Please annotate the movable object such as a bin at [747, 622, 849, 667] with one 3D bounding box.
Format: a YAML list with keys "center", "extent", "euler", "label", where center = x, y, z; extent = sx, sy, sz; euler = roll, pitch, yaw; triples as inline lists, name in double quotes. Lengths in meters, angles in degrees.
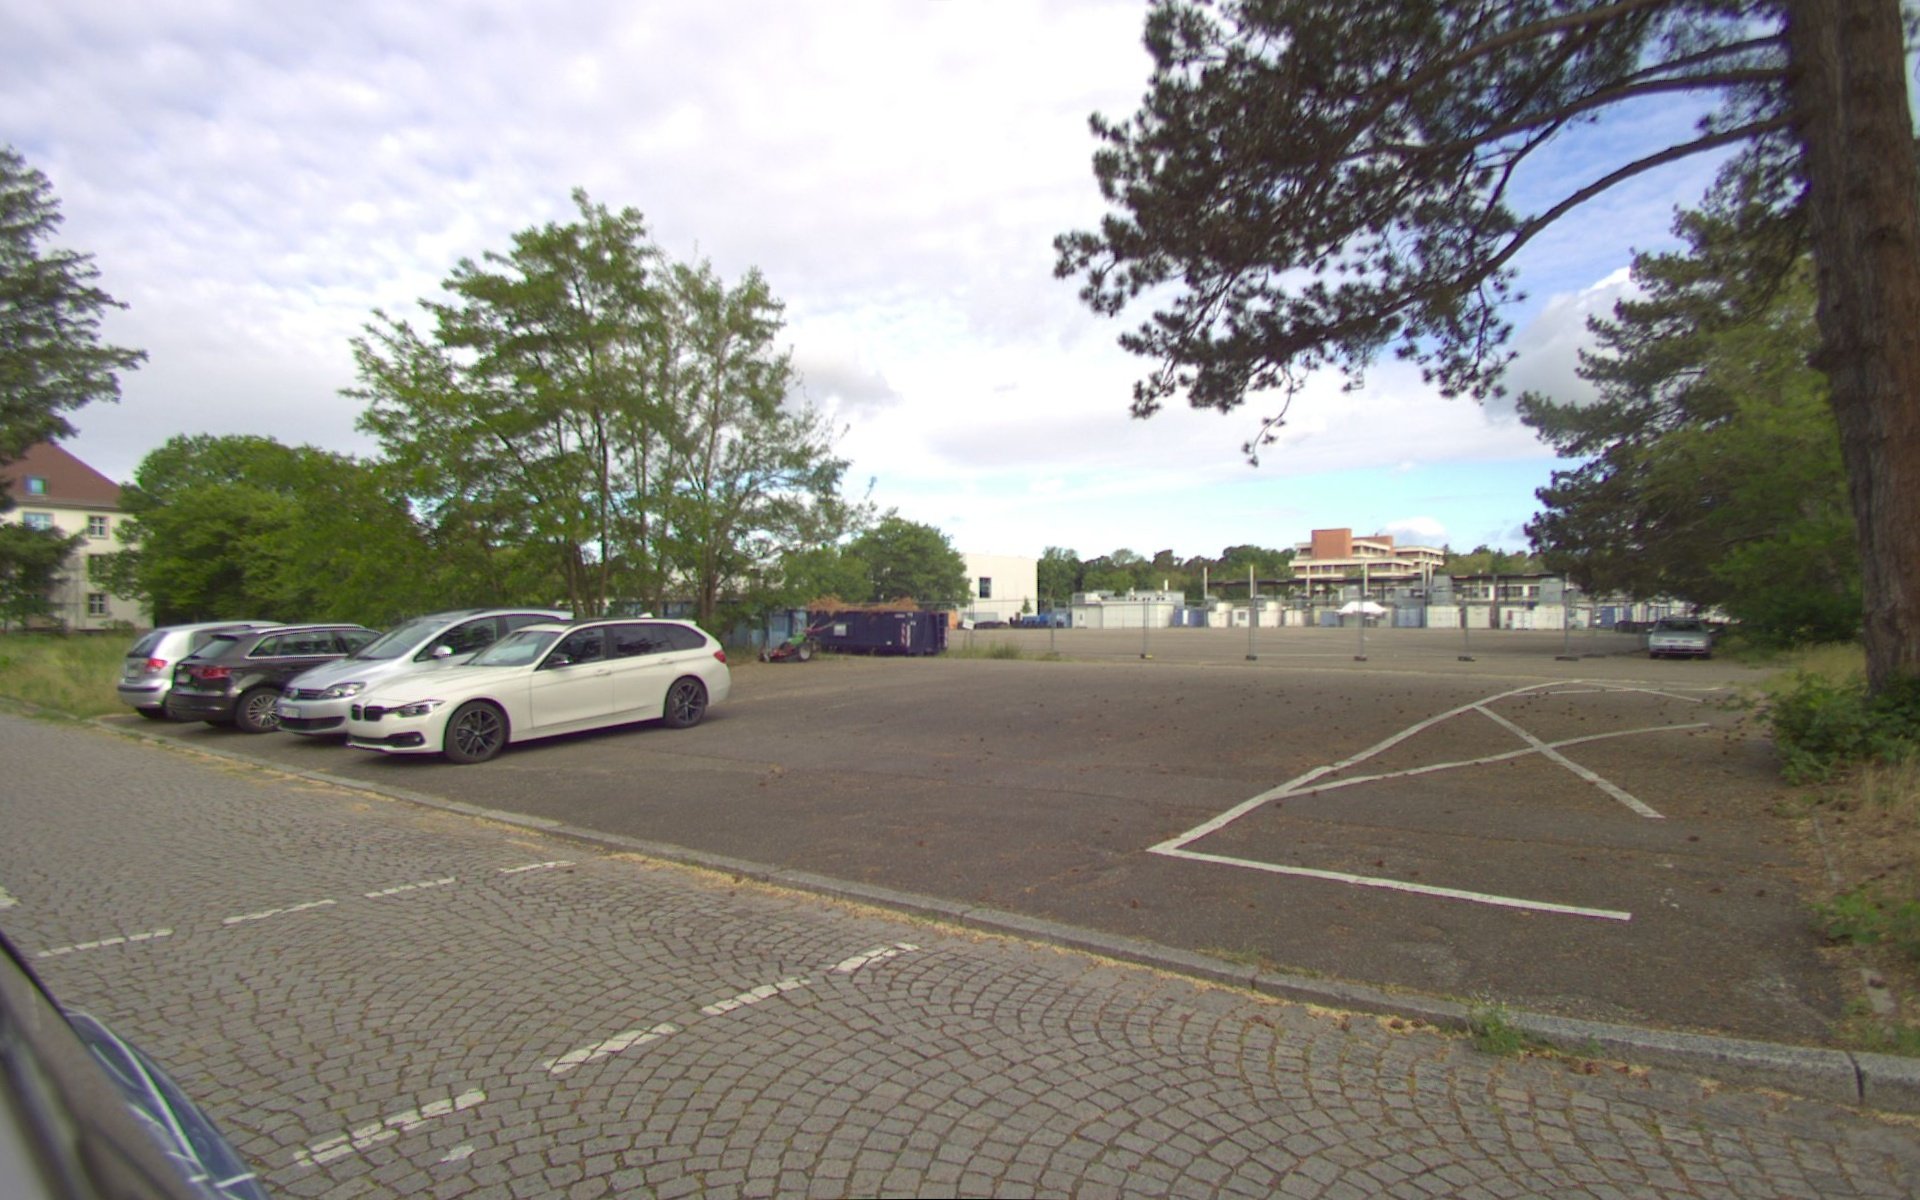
- center: [-4.421, 1.193, 27.762]
  extent: [1.500, 1.170, 2.365]
  euler: [-2, -2, 43]
  label: "movable object such as a bin"

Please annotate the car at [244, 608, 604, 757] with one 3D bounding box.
- center: [-7.042, 0.973, 13.695]
  extent: [1.719, 1.559, 3.955]
  euler: [-1, 1, 33]
  label: "car"

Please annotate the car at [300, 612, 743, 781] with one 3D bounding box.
- center: [-4.948, 0.965, 12.117]
  extent: [1.797, 1.454, 4.609]
  euler: [-1, 1, 34]
  label: "car"

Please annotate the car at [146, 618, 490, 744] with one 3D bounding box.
- center: [-9.377, 1.075, 15.072]
  extent: [1.748, 1.438, 3.951]
  euler: [-1, 1, 37]
  label: "car"

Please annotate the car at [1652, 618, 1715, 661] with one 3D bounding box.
- center: [25.238, 1.327, 35.305]
  extent: [1.694, 1.403, 3.951]
  euler: [-1, -2, 36]
  label: "car"

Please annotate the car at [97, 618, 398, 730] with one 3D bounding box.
- center: [-11.597, 1.118, 16.690]
  extent: [1.803, 1.463, 3.648]
  euler: [-1, 1, 33]
  label: "car"
